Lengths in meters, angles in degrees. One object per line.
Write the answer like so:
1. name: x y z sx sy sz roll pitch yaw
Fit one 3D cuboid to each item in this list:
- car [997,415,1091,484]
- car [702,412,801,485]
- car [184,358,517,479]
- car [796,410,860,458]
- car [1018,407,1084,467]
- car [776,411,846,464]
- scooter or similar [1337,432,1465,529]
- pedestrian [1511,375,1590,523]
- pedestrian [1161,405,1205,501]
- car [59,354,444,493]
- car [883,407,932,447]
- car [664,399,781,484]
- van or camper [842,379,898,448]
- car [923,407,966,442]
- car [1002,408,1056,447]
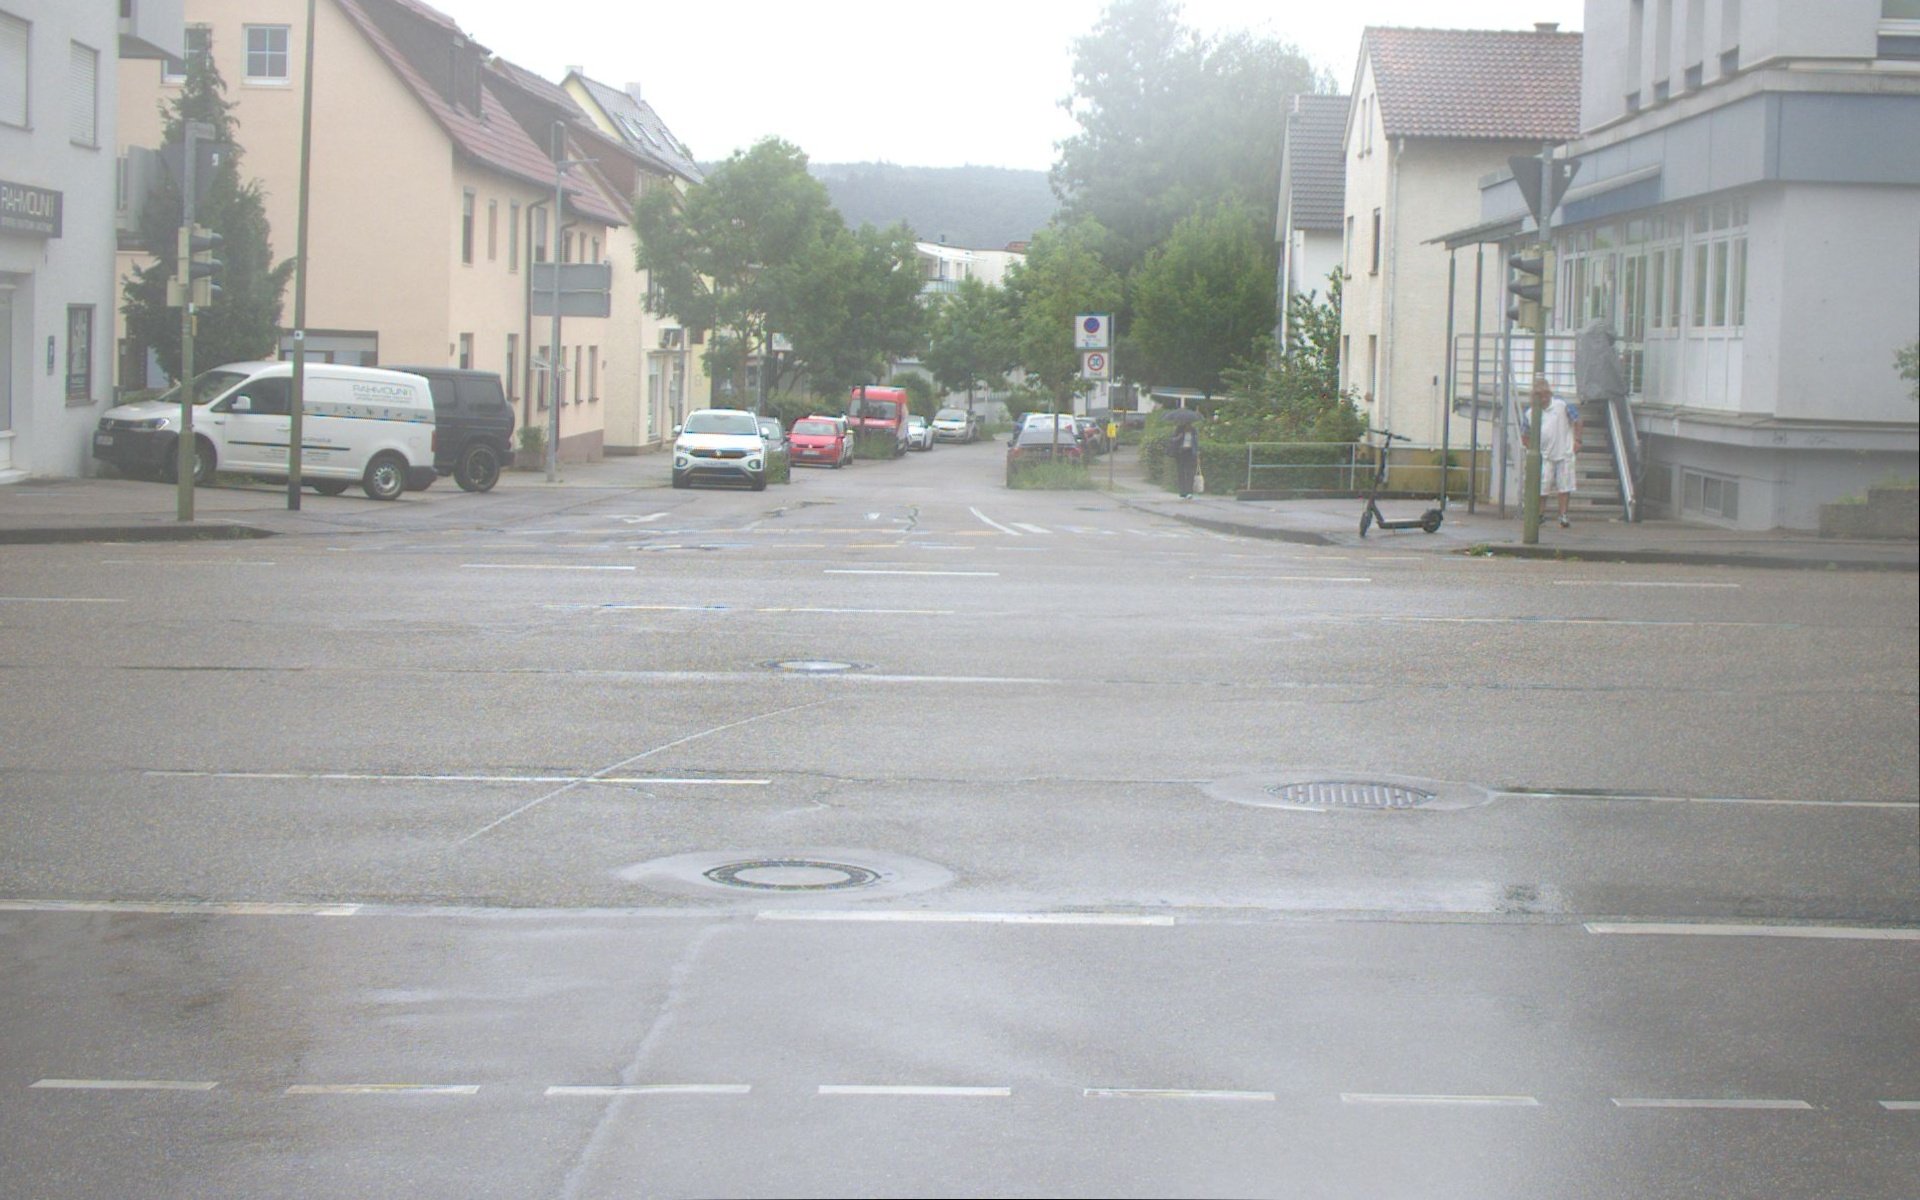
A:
1. car: 1.958 -3.573 81.484 2.146 1.583 4.128 0 3 0
2. car: -4.781 -3.503 79.323 1.993 1.620 4.192 0 3 0
3. car: -9.635 -2.860 54.555 4.830 1.829 2.000 -2 3 -38
4. car: -4.314 -5.437 112.750 1.901 1.553 4.192 0 3 0
5. car: 2.731 -4.908 103.607 1.901 1.739 4.192 0 3 0
6. car: -4.499 -4.923 104.352 1.901 1.553 4.192 0 3 0
7. scooter or similar: 4.945 -1.346 38.589 1.268 1.077 0.877 0 3 -4
8. pedestrian: 6.769 -1.730 39.421 0.647 1.641 0.526 4 2 -6
9. pedestrian: 4.409 -2.907 67.914 0.746 1.842 0.526 4 2 4
10. car: -9.746 -2.420 47.508 4.830 1.829 2.000 -2 3 -38
11. car: -2.098 -6.964 138.543 1.901 1.553 4.192 0 3 0
12. car: -4.664 -3.133 67.923 1.993 1.620 4.192 0 3 0
13. van or camper: -3.286 -6.843 126.487 1.901 2.504 4.239 0 3 0
14. car: -0.679 -7.865 154.521 1.901 1.553 4.192 0 3 0
15. car: 3.047 -7.557 150.861 1.994 1.678 4.000 1 3 6
